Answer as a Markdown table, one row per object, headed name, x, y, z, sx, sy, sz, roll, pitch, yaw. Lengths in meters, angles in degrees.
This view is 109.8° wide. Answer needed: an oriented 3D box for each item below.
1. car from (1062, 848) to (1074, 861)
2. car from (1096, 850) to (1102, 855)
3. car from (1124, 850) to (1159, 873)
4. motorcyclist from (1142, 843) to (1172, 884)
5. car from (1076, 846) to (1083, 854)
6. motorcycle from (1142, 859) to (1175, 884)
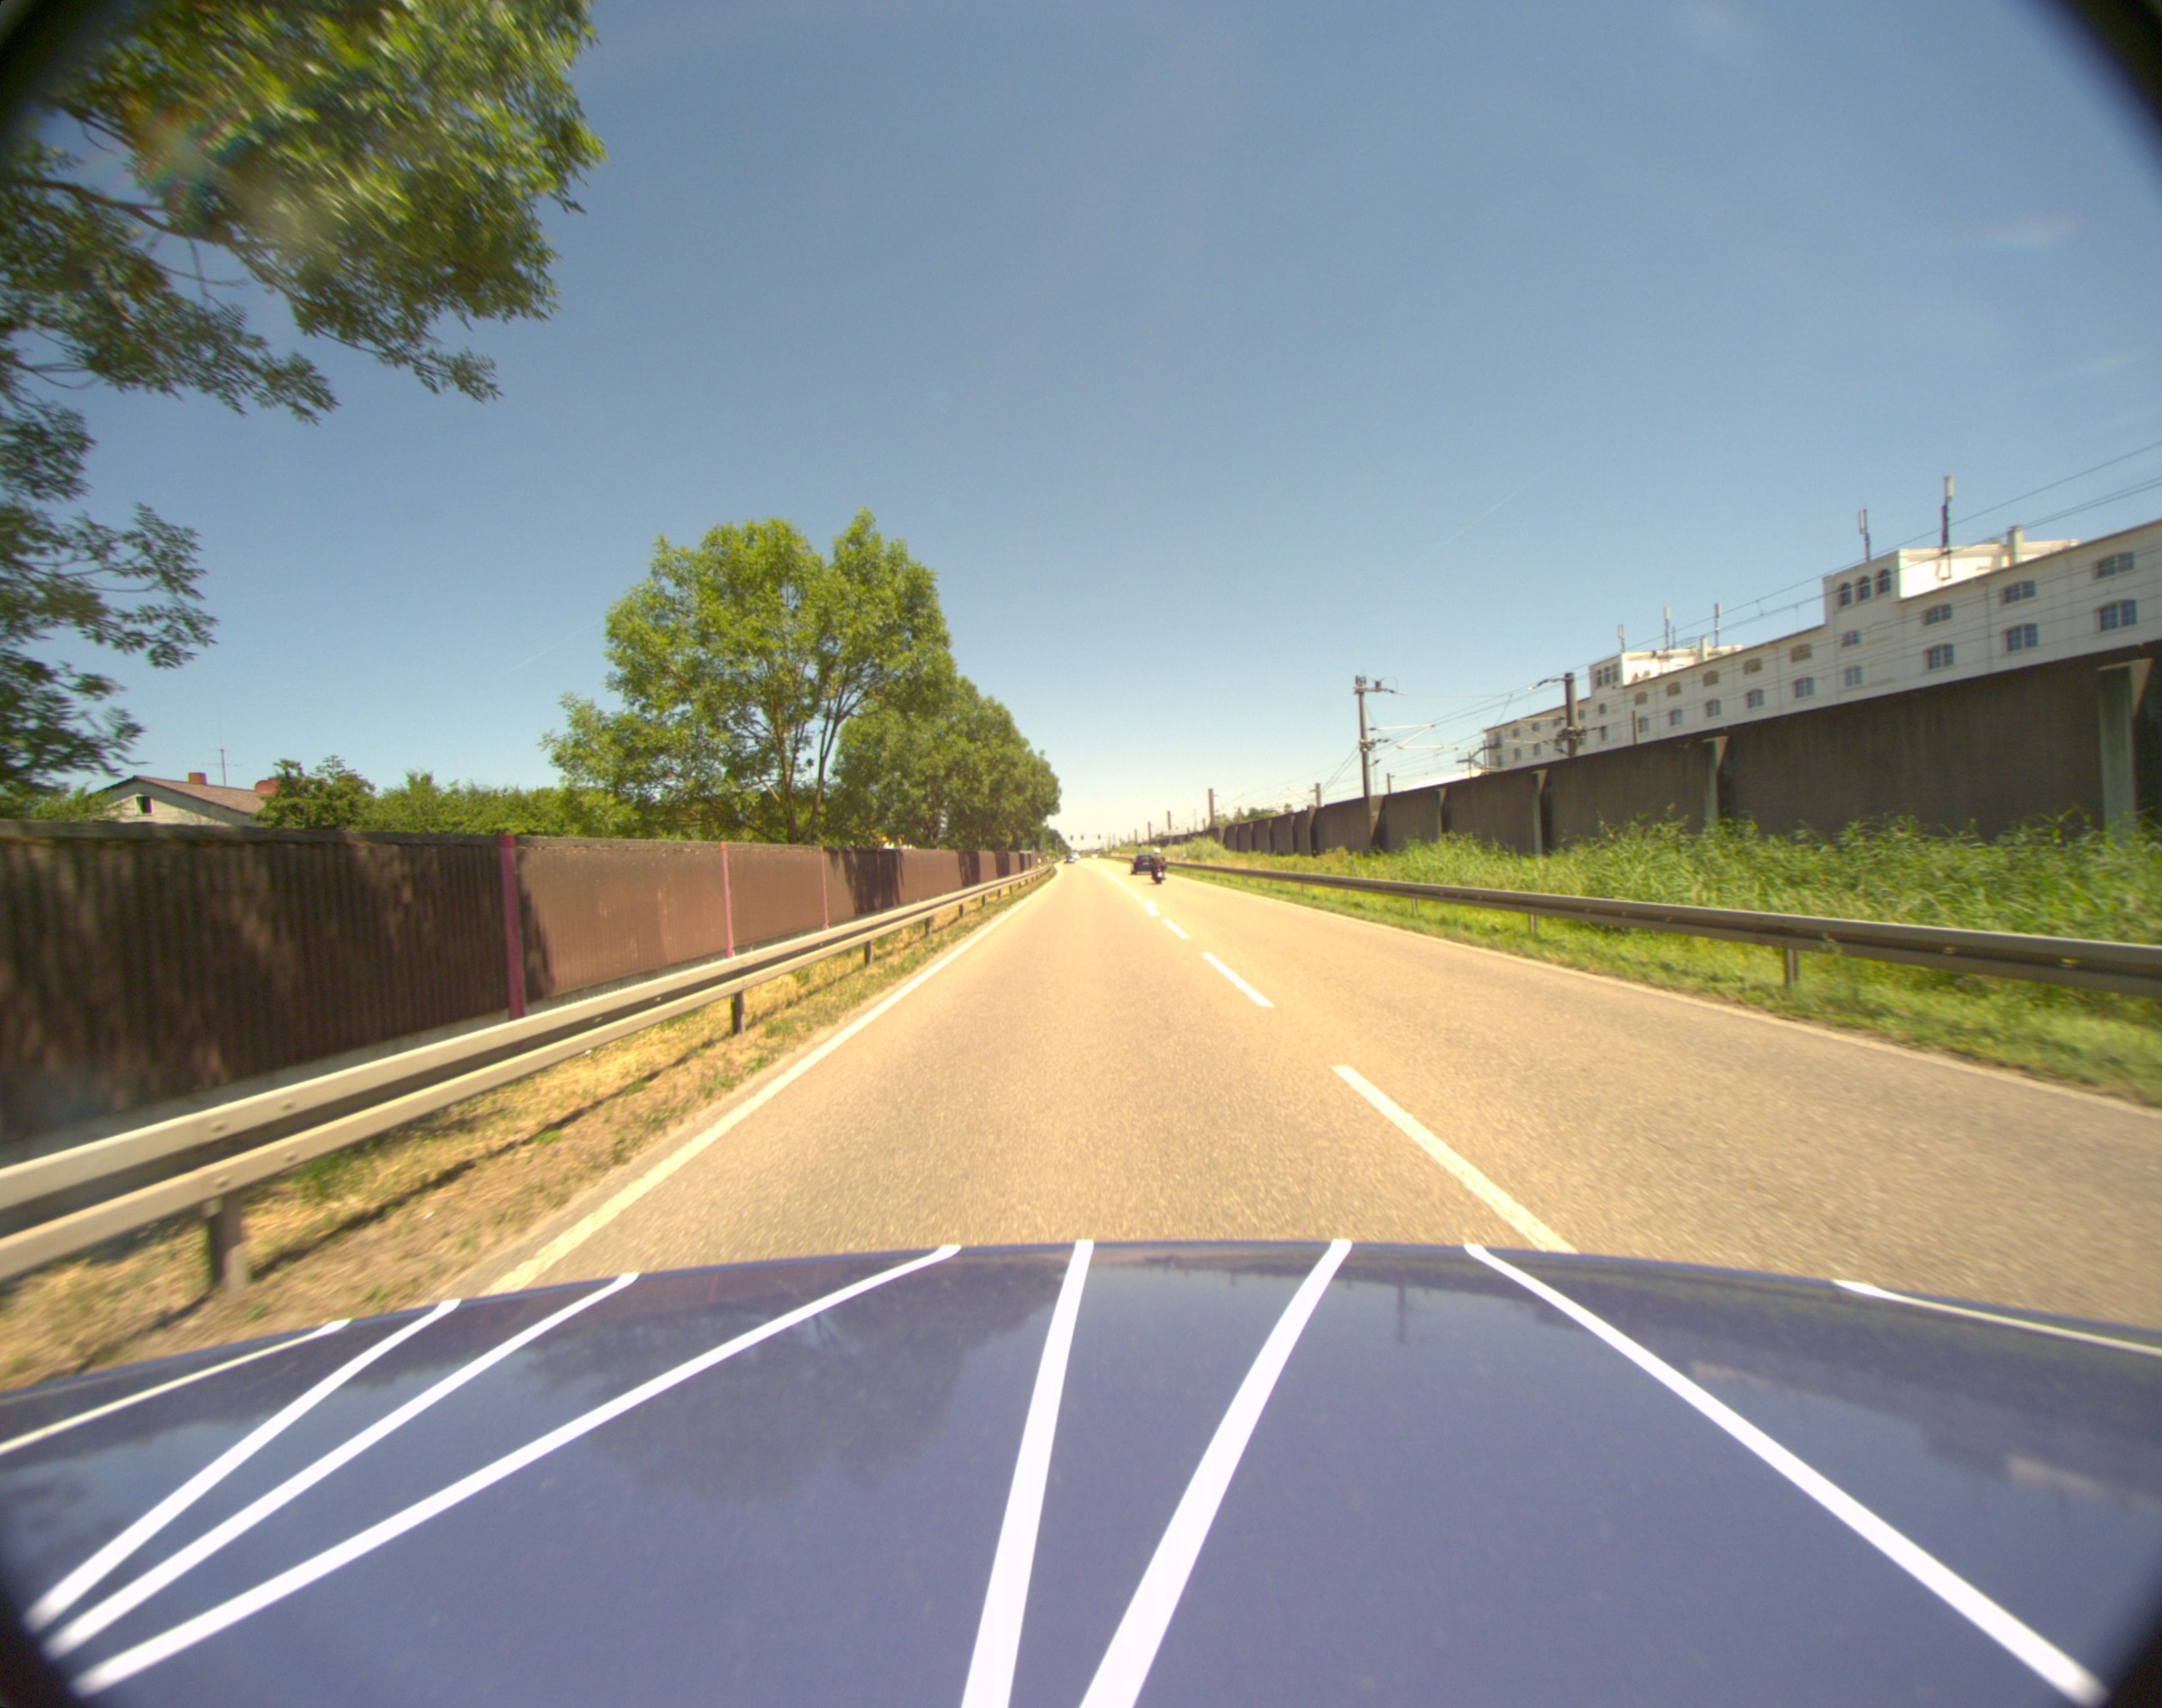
| name | x | y | z | sx | sy | sz | roll | pitch | yaw |
| --- | --- | --- | --- | --- | --- | --- | --- | --- | --- |
| car | -2.244 | 0.069 | 130.043 | 1.999 | 2.002 | 3.999 | -2 | 0 | -1 |
| car | 5.939 | -0.518 | 247.668 | 1.600 | 1.466 | 3.773 | -2 | 0 | -1 |
| car | 4.251 | 0.474 | 53.835 | 1.999 | 1.499 | 3.999 | -2 | 0 | -1 |
| motorcyclist | 3.636 | 0.448 | 36.428 | 1.257 | 1.853 | 1.245 | -2 | 1 | 0 |
| car | -0.432 | -1.135 | 210.908 | 1.999 | 2.002 | 3.999 | -2 | 1 | -1 |
| motorcycle | 3.663 | 0.824 | 36.318 | 1.240 | 1.066 | 3.129 | -2 | 0 | 0 |
